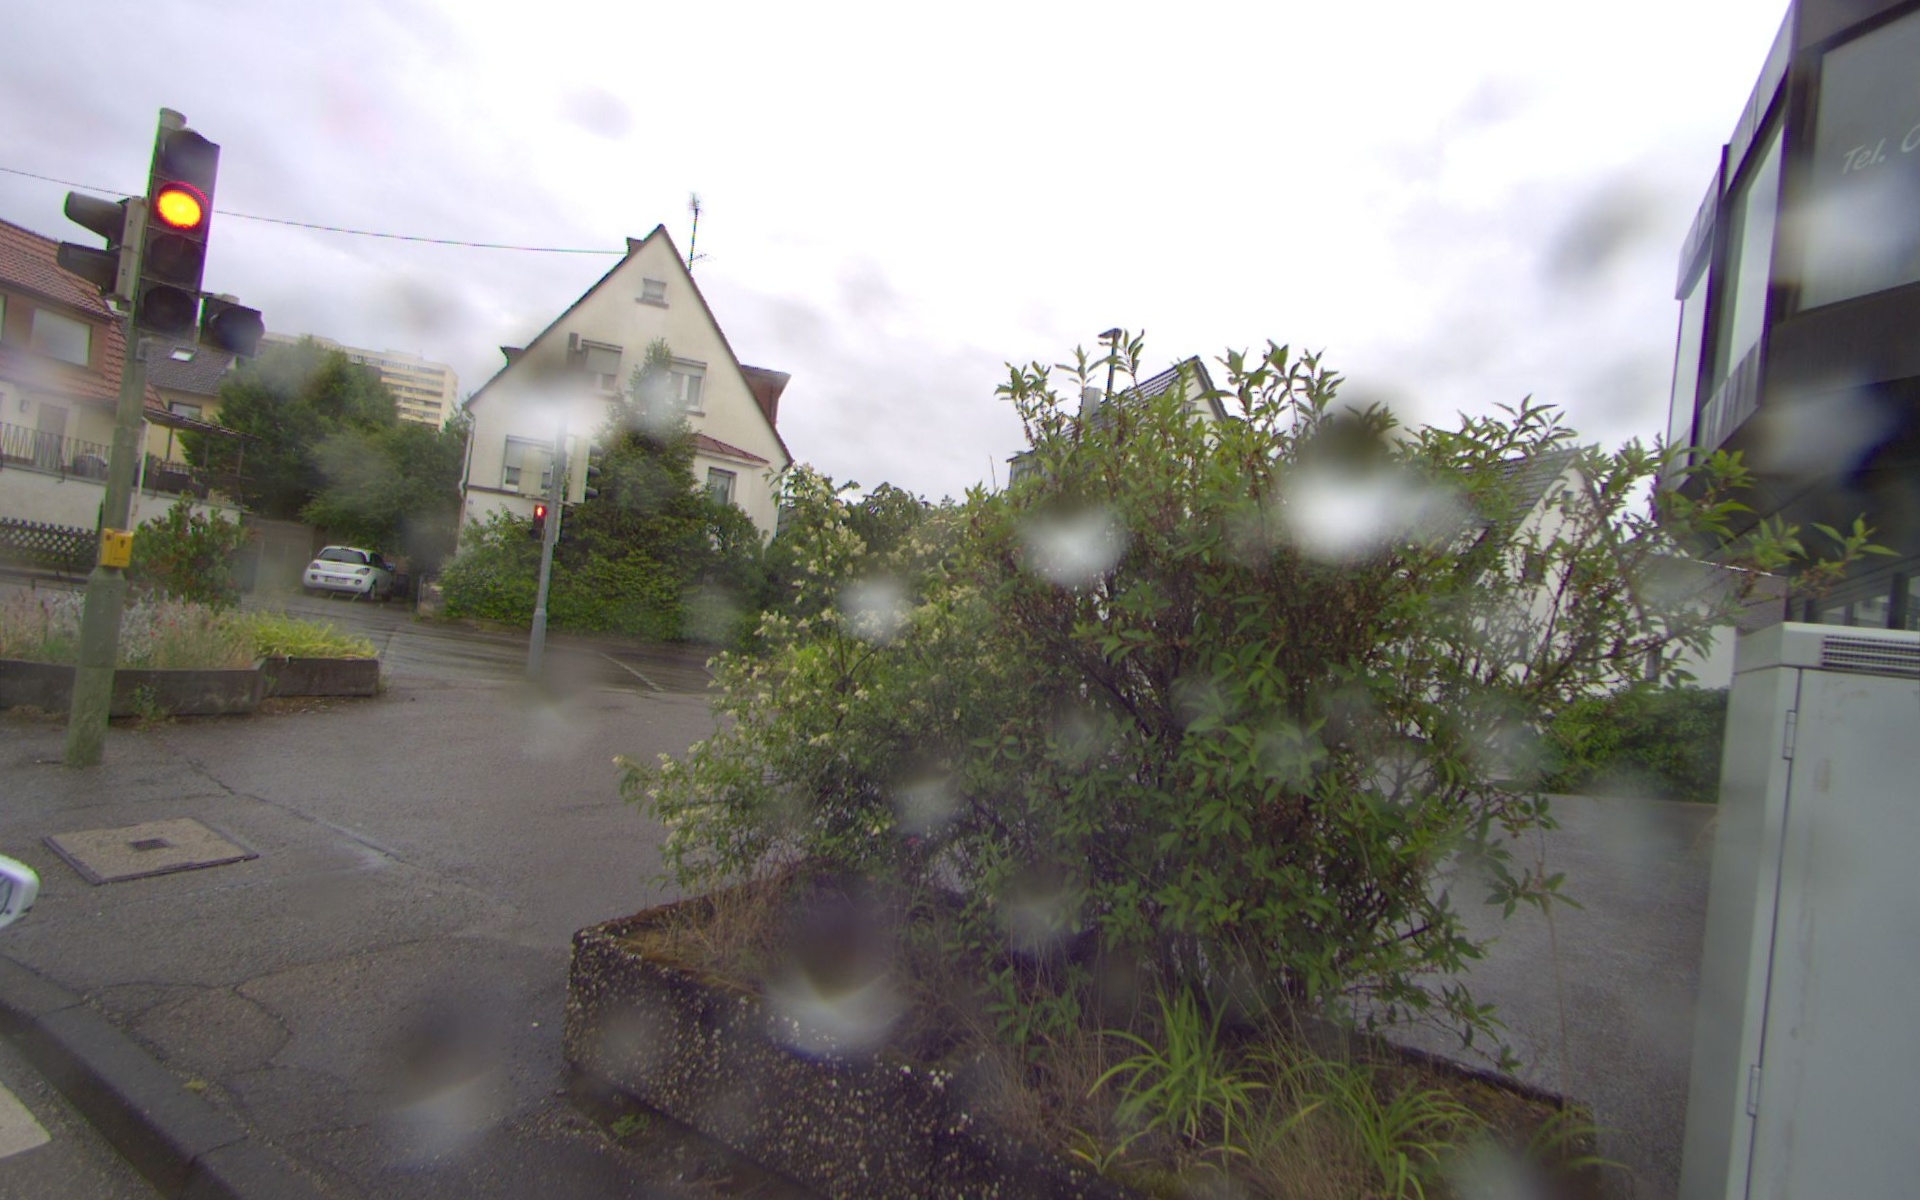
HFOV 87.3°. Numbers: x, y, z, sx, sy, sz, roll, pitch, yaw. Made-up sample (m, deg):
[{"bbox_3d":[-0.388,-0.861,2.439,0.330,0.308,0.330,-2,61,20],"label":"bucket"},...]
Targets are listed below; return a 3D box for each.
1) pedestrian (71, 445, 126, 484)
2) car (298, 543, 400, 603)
[{"bbox_3d":[-24.265,-3.809,28.360,0.623,0.893,0.920,5,-2,13],"label":"pedestrian"},{"bbox_3d":[-17.749,-0.753,29.410,1.794,1.378,3.981,8,-2,-22],"label":"car"}]
